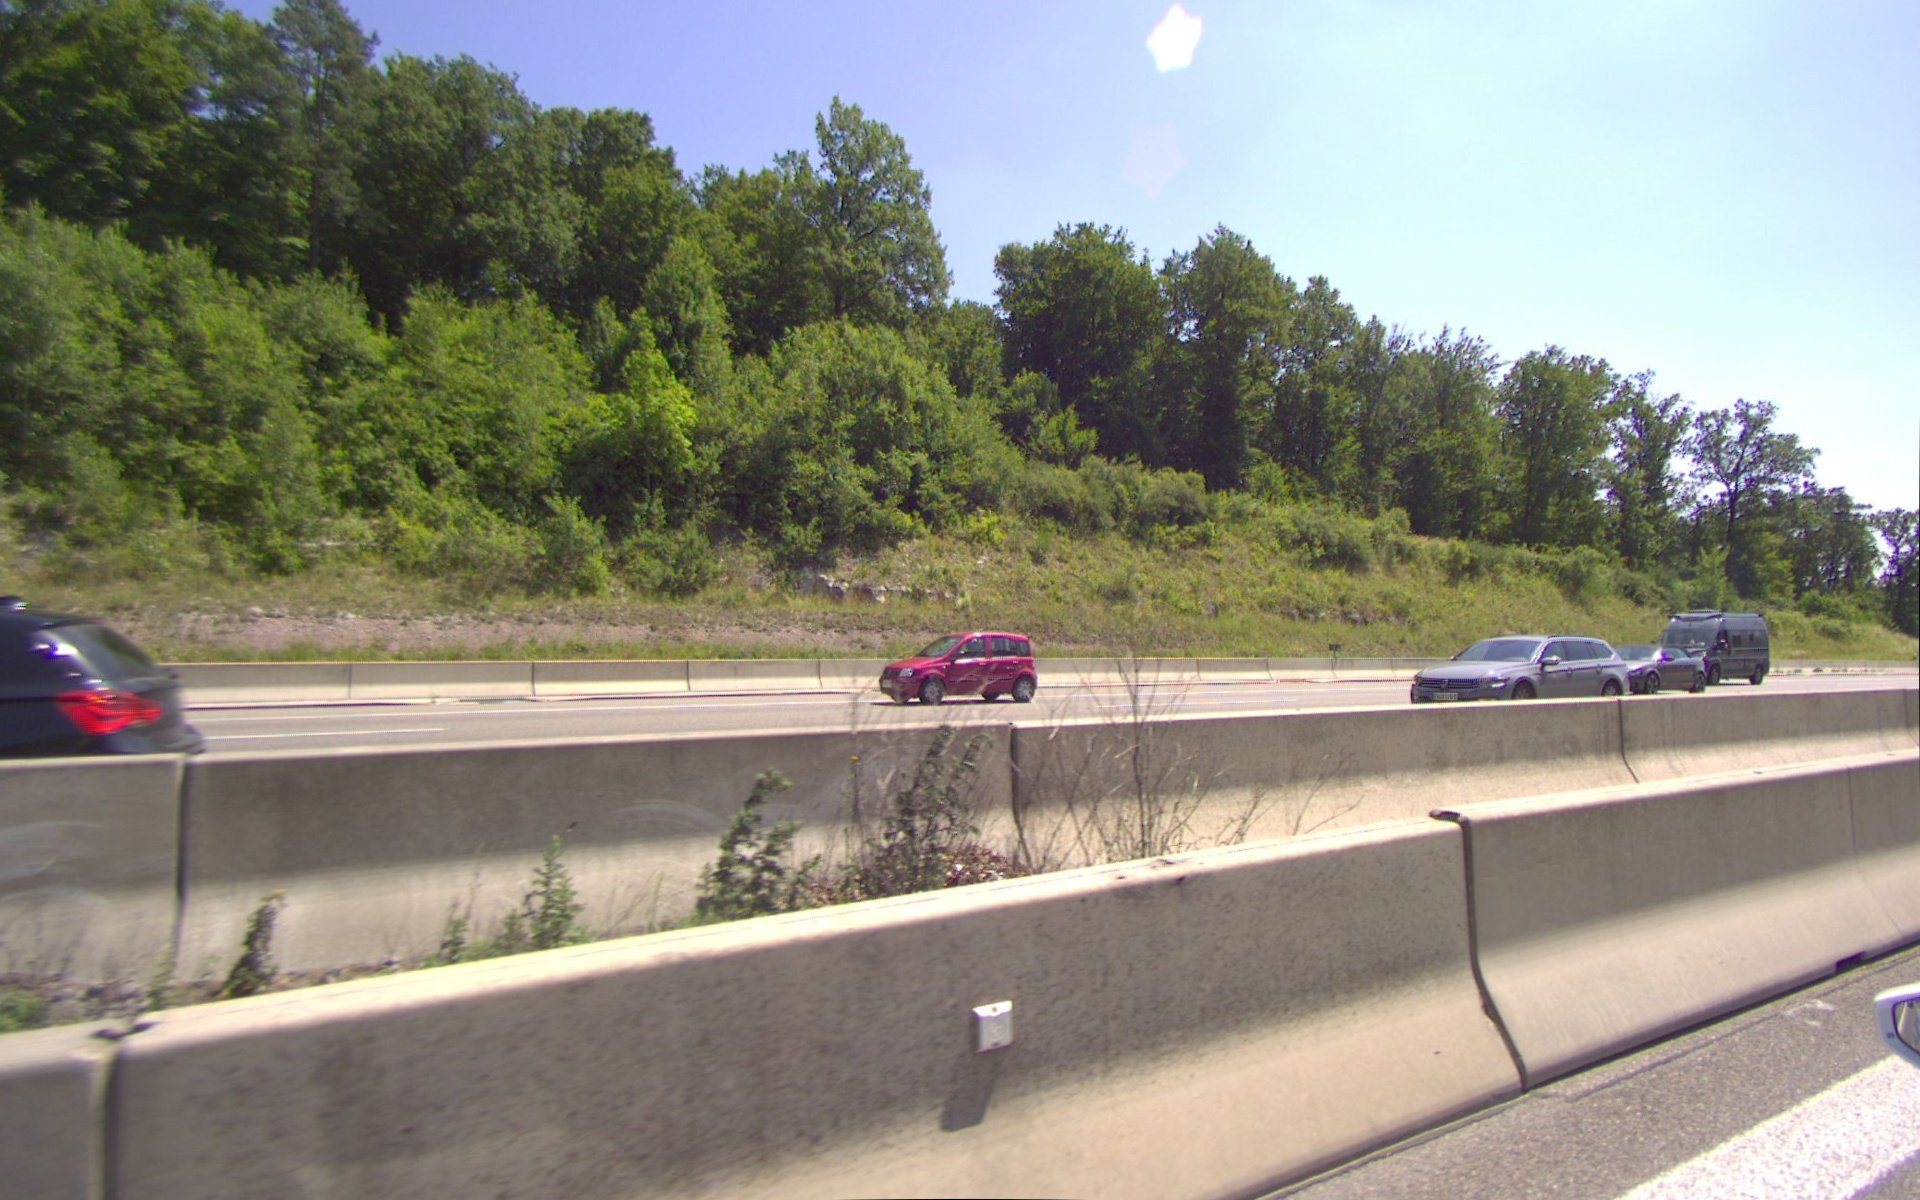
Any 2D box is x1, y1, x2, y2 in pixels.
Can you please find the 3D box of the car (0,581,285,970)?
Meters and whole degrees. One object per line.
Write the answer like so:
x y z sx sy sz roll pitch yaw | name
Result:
-6.006 0.793 4.822 4.416 1.800 1.862 2 -1 -30 | car

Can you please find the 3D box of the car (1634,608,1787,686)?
28.058 1.779 37.483 6.700 2.698 2.131 2 -3 -30 | car

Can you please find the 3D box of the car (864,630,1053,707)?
-0.026 1.437 21.760 3.676 1.520 1.862 2 -1 -30 | car

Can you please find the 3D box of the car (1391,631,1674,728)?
10.430 1.396 18.188 5.377 1.525 2.018 3 -2 -30 | car

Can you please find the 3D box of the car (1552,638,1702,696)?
18.175 1.793 27.321 4.388 1.426 1.659 2 -2 -30 | car
